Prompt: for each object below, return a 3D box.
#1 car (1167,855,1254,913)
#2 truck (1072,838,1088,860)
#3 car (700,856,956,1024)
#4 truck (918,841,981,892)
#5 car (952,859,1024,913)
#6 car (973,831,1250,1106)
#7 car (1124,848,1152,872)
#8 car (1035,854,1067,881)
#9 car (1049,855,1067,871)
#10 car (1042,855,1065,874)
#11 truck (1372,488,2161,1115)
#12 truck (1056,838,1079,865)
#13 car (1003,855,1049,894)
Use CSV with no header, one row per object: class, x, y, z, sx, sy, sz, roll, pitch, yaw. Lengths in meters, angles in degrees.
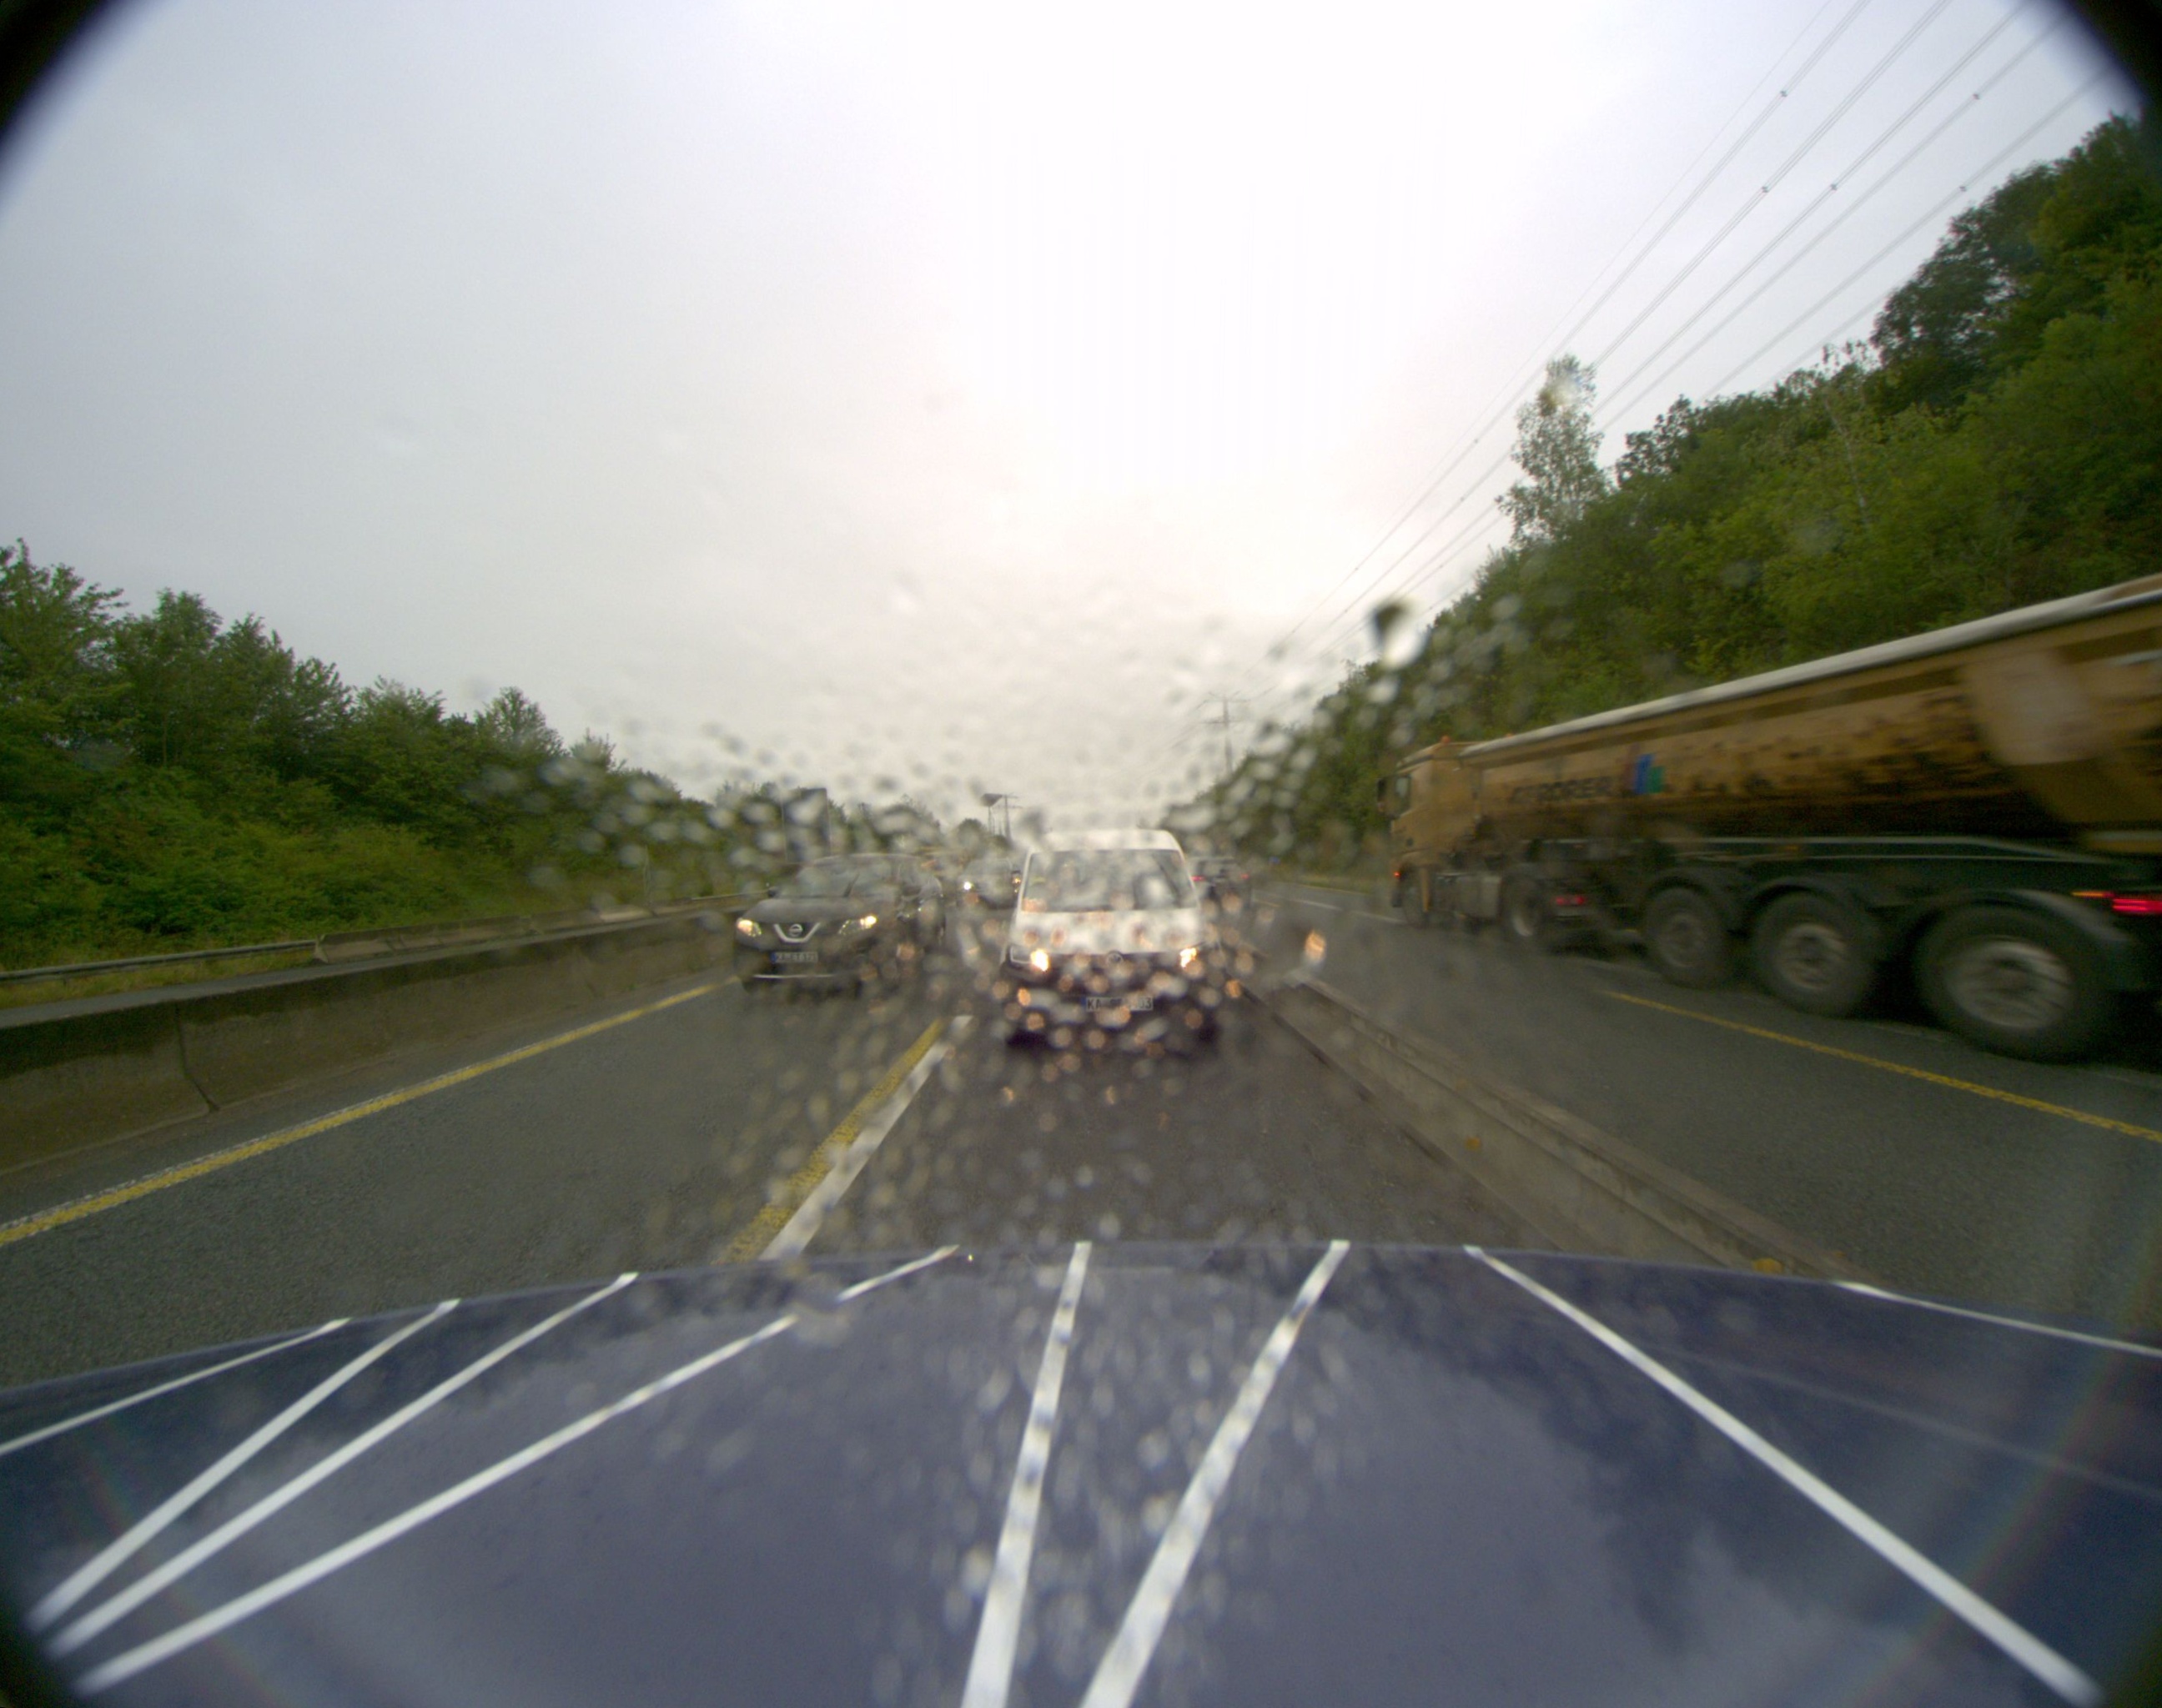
car,3.564,0.770,21.570,1.690,1.401,3.929,-2,1,-1
truck,-0.248,-0.909,136.159,2.619,3.869,9.574,-2,1,0
car,-3.069,0.925,10.406,1.894,1.665,4.640,-2,1,0
truck,-9.728,0.796,57.161,2.619,3.404,9.575,-2,1,2
car,-2.946,0.967,24.853,1.784,1.482,4.123,-2,1,0
car,0.201,0.741,7.416,1.784,1.775,4.697,-2,1,0
car,4.581,0.468,61.762,1.815,1.813,4.634,-2,1,-1
car,-1.814,0.818,46.797,1.784,1.482,4.123,-2,1,0
car,-2.374,0.923,79.561,1.784,1.482,4.123,-2,1,0
car,-2.341,0.866,65.538,1.784,1.482,4.123,-2,1,0
truck,7.117,-0.369,9.387,2.541,3.333,12.049,-2,1,1
truck,-1.762,-0.393,106.099,2.619,3.404,9.575,-2,1,2
car,-2.505,0.888,35.364,1.784,1.589,4.123,-2,1,0
